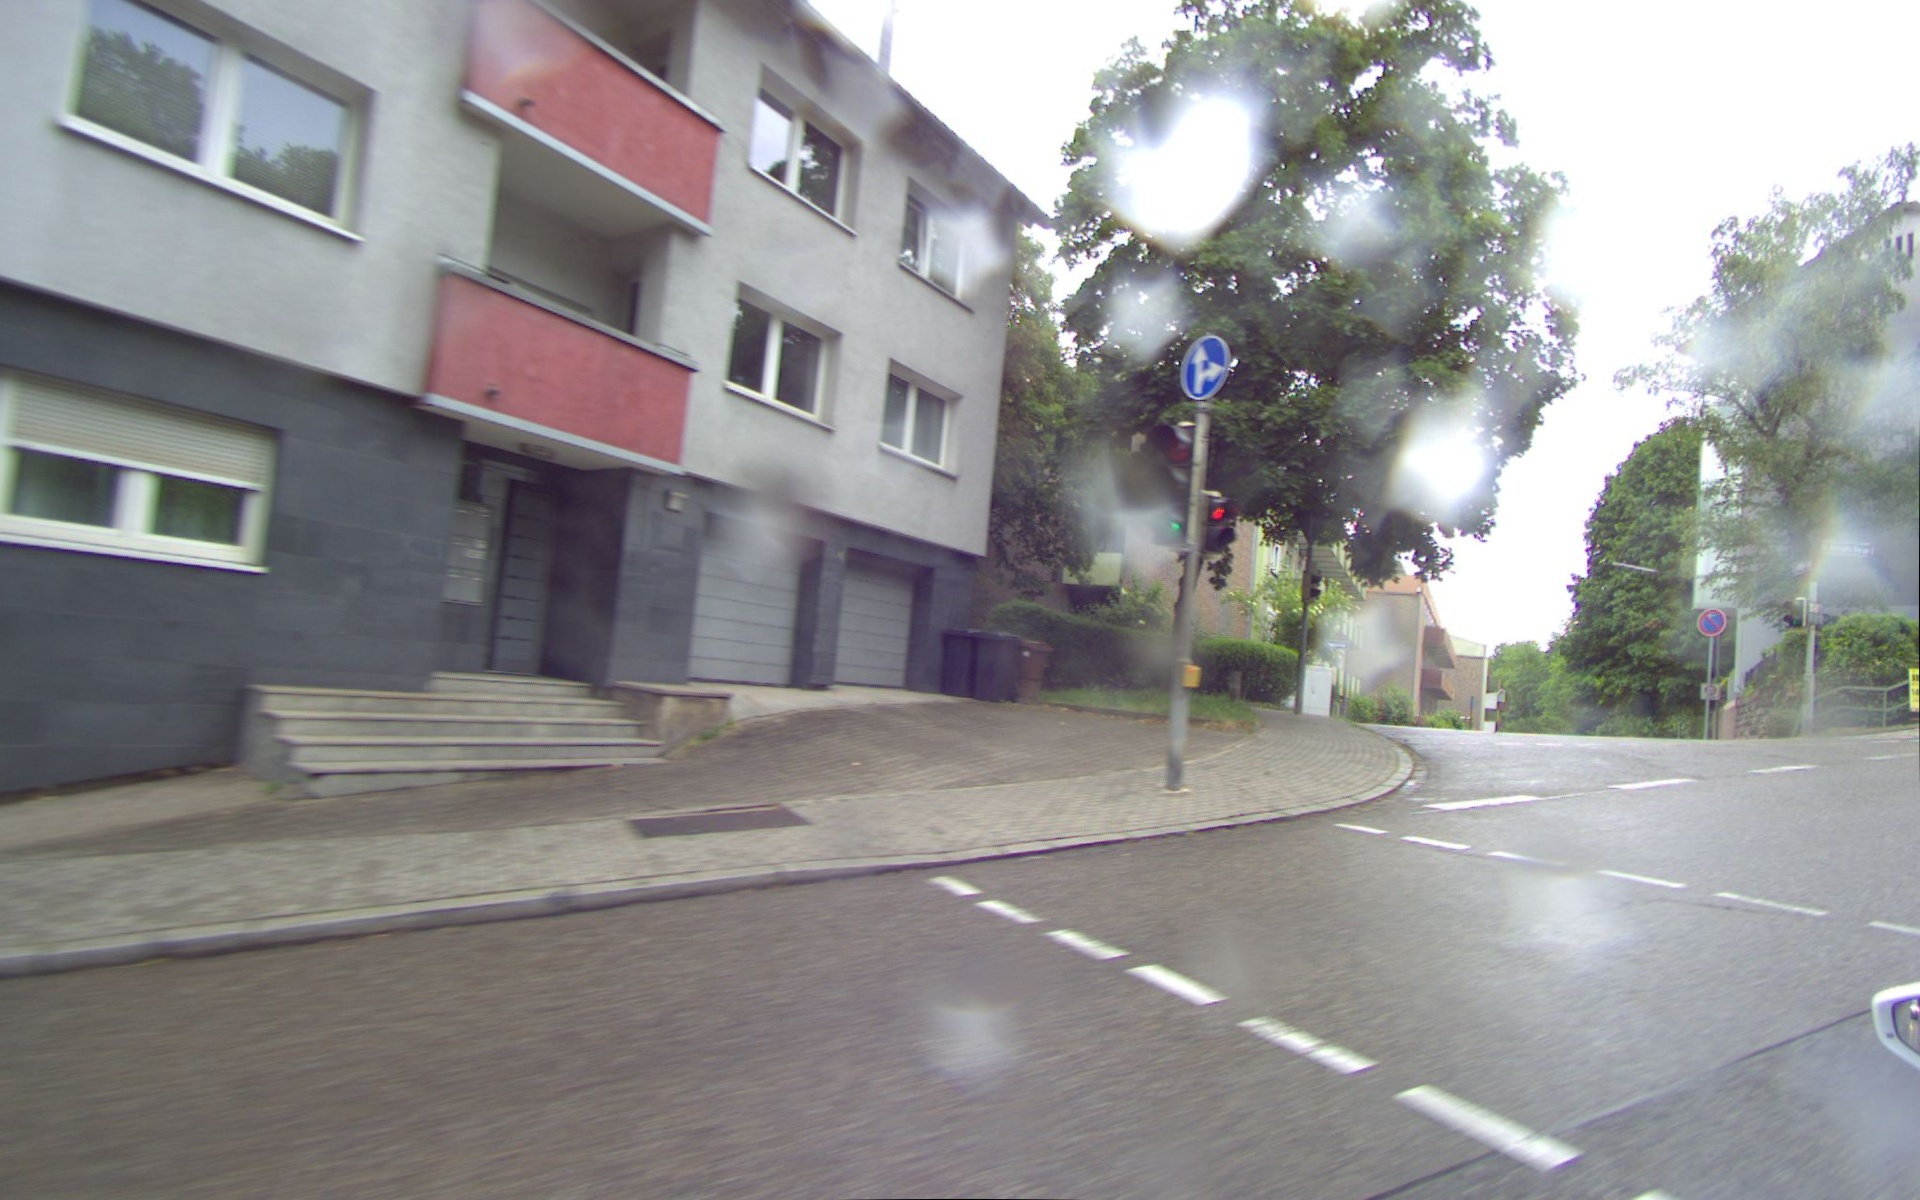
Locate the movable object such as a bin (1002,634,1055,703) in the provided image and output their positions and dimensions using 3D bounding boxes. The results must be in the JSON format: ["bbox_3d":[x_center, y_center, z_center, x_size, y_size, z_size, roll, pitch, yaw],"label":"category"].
[{"bbox_3d":[1.093,1.083,15.979,0.620,1.029,0.499,2,-1,37],"label":"movable object such as a bin"}]

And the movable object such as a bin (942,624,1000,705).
[{"bbox_3d":[0.178,1.009,15.853,0.552,1.215,0.686,2,-1,36],"label":"movable object such as a bin"}]

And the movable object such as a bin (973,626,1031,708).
[{"bbox_3d":[0.650,1.027,15.522,0.552,1.215,0.686,2,-1,36],"label":"movable object such as a bin"}]
